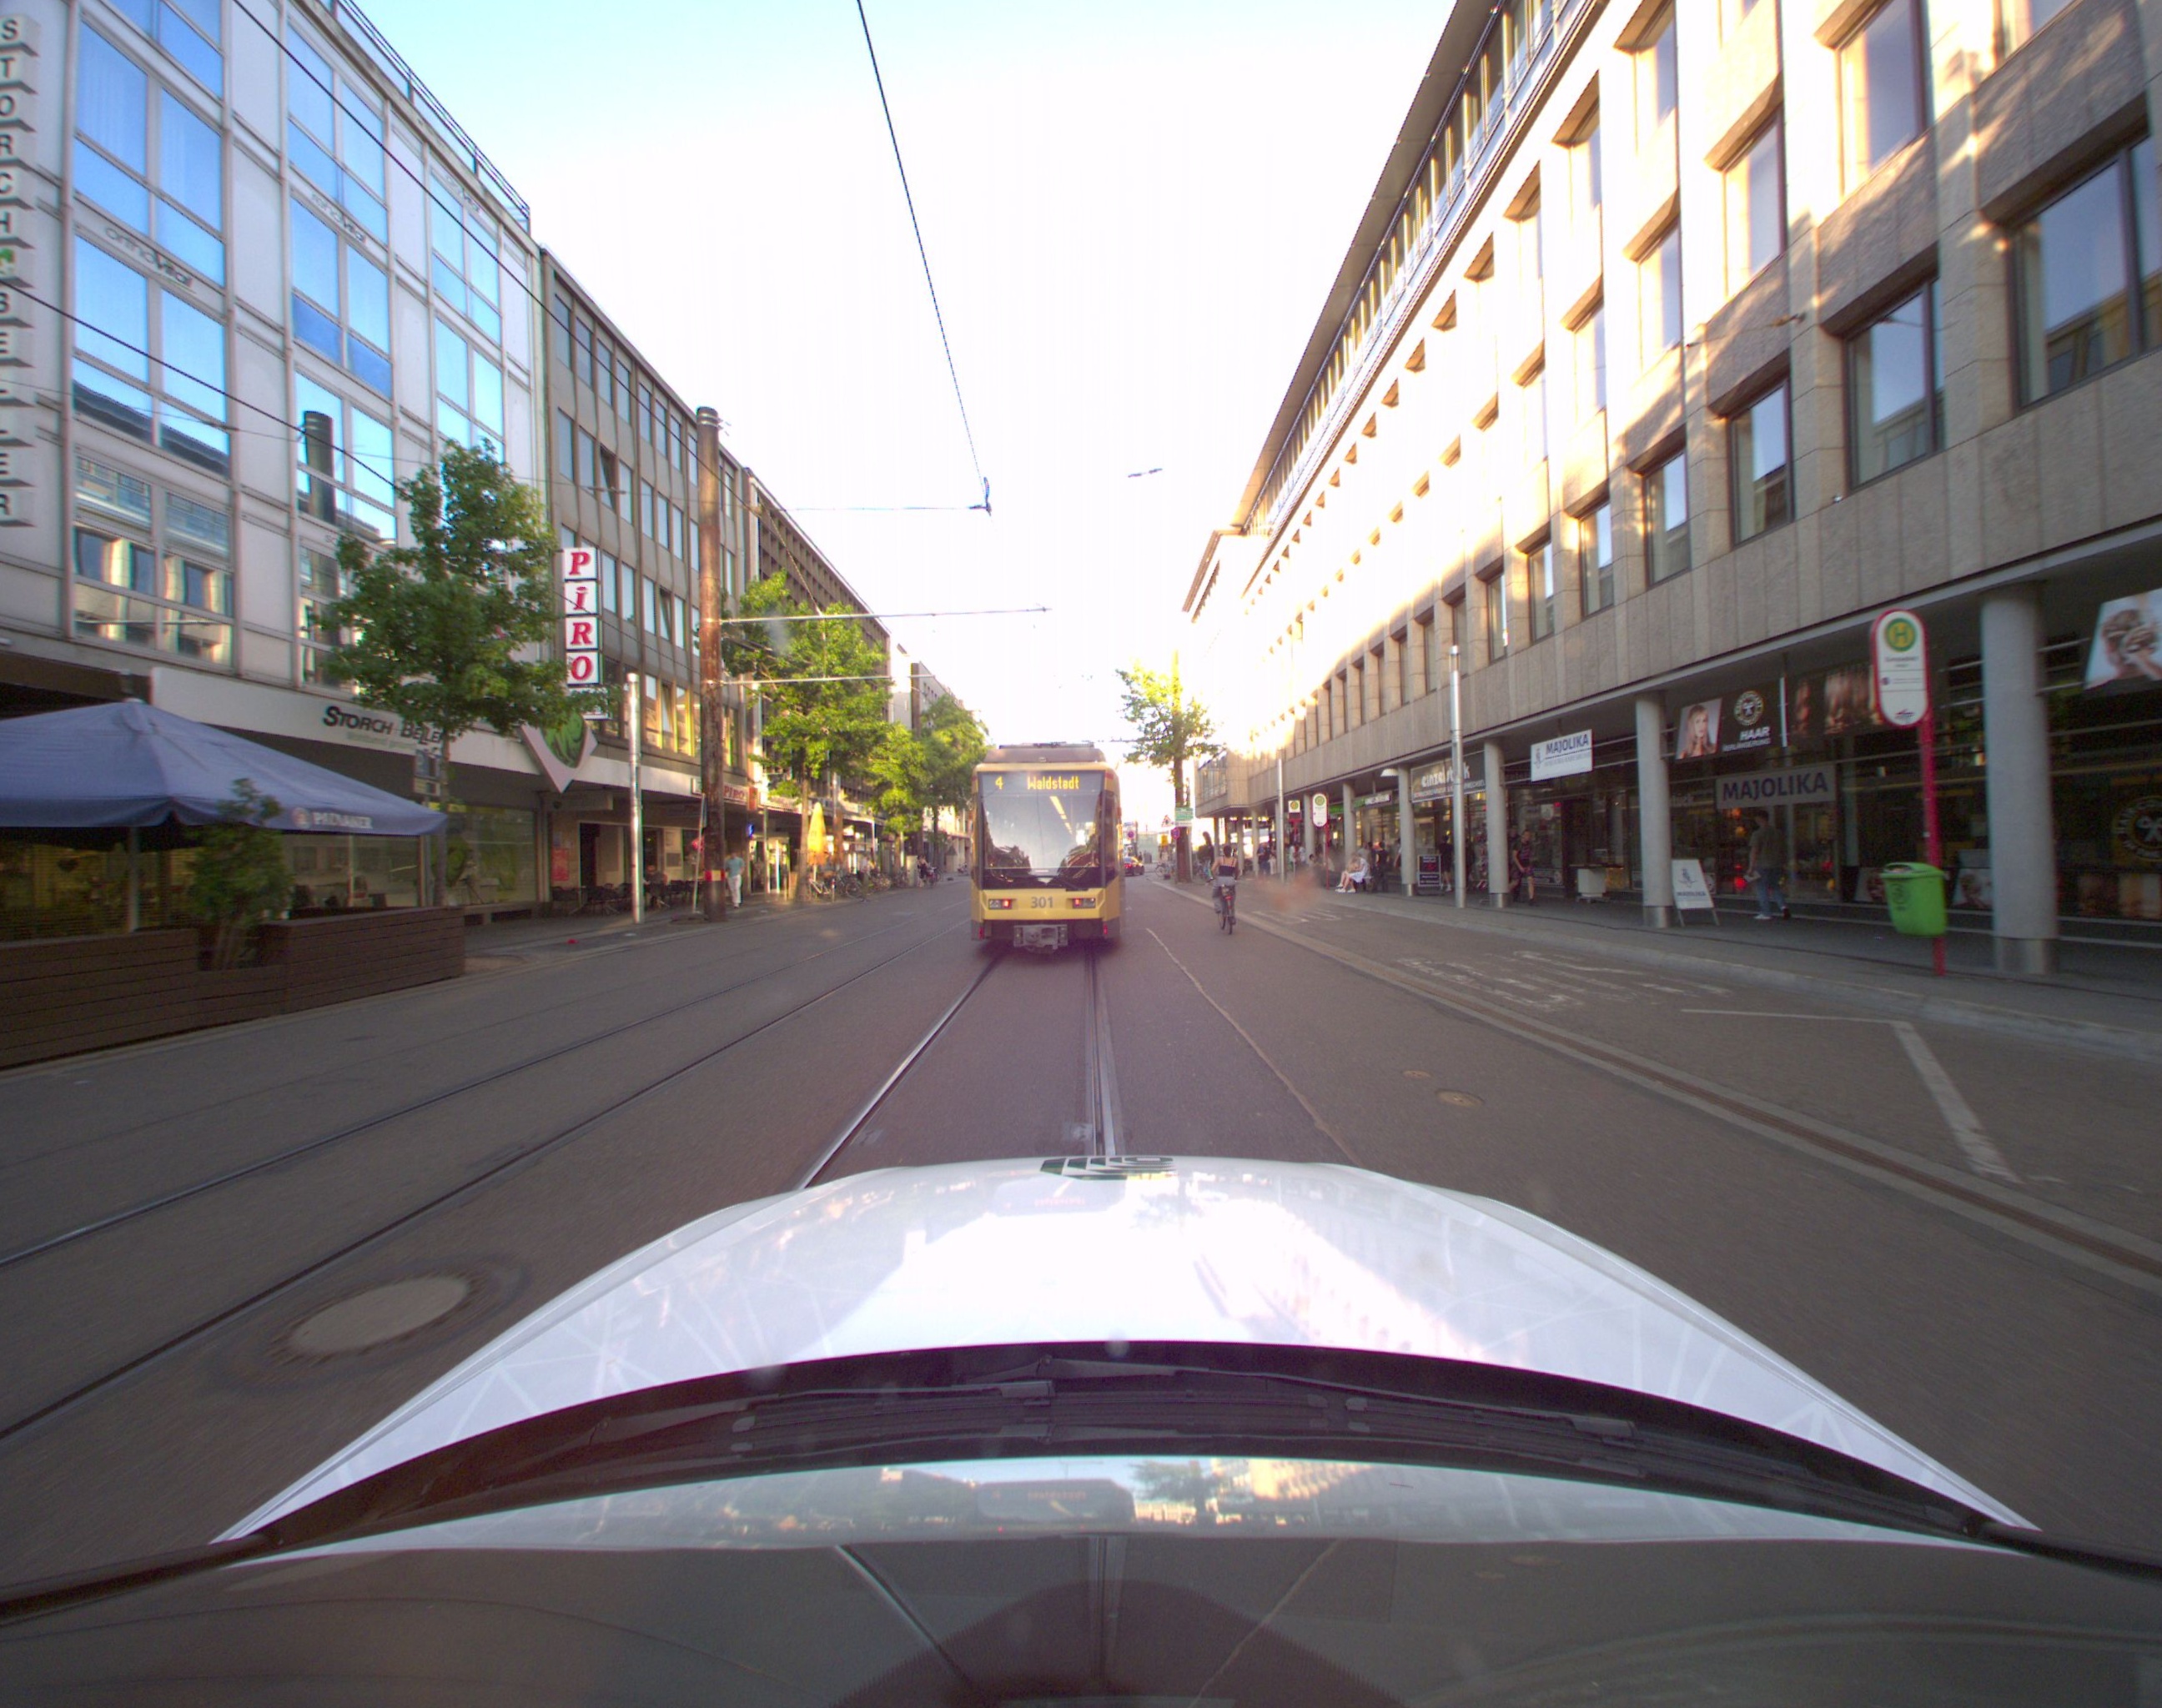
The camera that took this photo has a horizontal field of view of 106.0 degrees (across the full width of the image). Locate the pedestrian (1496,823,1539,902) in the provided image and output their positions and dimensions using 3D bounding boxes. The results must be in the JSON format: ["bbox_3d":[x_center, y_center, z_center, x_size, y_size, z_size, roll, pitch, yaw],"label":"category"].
[{"bbox_3d":[10.728,0.208,20.020,0.614,1.889,0.684,-2,-1,2],"label":"pedestrian"}]

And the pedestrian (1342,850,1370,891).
[{"bbox_3d":[8.915,0.523,26.386,0.715,1.314,0.524,-1,-1,2],"label":"pedestrian"}]

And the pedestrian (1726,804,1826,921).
[{"bbox_3d":[11.731,0.142,13.784,0.841,1.889,0.899,-2,-1,0],"label":"pedestrian"}]

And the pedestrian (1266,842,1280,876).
[{"bbox_3d":[10.579,0.283,44.876,0.537,1.806,0.604,-2,-1,-1],"label":"pedestrian"}]

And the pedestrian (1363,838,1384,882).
[{"bbox_3d":[11.885,0.246,33.092,0.568,1.731,0.617,-2,-1,-1],"label":"pedestrian"}]

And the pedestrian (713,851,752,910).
[{"bbox_3d":[-10.834,0.822,25.358,0.681,1.793,0.991,1,-1,4],"label":"pedestrian"}]

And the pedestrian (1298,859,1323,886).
[{"bbox_3d":[8.811,0.704,31.251,0.810,1.042,0.544,-1,-1,2],"label":"pedestrian"}]

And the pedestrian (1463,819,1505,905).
[{"bbox_3d":[9.449,0.184,19.105,0.576,1.944,0.655,-2,-1,0],"label":"pedestrian"}]

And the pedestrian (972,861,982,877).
[{"bbox_3d":[-9.107,1.311,71.238,0.548,1.434,0.689,-3,-2,38],"label":"pedestrian"}]

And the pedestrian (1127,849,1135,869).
[{"bbox_3d":[4.447,0.463,72.447,0.715,1.725,0.709,-2,-1,1],"label":"pedestrian"}]

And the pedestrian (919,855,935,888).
[{"bbox_3d":[-8.015,0.918,42.285,0.595,1.699,0.539,-1,0,29],"label":"pedestrian"}]

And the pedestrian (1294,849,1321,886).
[{"bbox_3d":[8.486,0.510,30.504,0.810,1.381,0.662,-1,-1,2],"label":"pedestrian"}]

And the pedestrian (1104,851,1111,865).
[{"bbox_3d":[3.362,0.523,103.921,0.734,1.823,0.816,-1,0,-14],"label":"pedestrian"}]

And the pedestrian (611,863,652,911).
[{"bbox_3d":[-12.927,0.935,23.445,0.668,1.325,0.911,1,-1,-1],"label":"pedestrian"}]

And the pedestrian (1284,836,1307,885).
[{"bbox_3d":[8.405,0.255,31.936,0.637,1.839,0.668,-2,-1,1],"label":"pedestrian"}]

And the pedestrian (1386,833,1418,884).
[{"bbox_3d":[11.478,0.173,29.156,0.770,1.772,0.773,-2,-1,-1],"label":"pedestrian"}]

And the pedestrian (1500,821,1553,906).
[{"bbox_3d":[10.319,0.214,18.890,0.704,1.889,0.796,-2,-1,1],"label":"pedestrian"}]

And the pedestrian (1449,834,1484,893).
[{"bbox_3d":[11.270,0.268,23.812,0.645,1.661,0.681,-2,0,1],"label":"pedestrian"}]

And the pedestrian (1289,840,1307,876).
[{"bbox_3d":[11.213,0.217,42.036,0.660,1.787,0.719,-2,-1,1],"label":"pedestrian"}]

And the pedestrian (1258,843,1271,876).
[{"bbox_3d":[10.077,0.289,44.720,0.537,1.806,0.604,-2,-1,-1],"label":"pedestrian"}]

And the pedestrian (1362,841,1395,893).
[{"bbox_3d":[9.282,0.396,25.402,0.721,1.570,0.736,-2,-1,2],"label":"pedestrian"}]

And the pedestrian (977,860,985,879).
[{"bbox_3d":[-8.297,1.294,67.591,0.603,1.494,0.554,-1,-1,-8],"label":"pedestrian"}]

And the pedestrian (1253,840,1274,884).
[{"bbox_3d":[7.844,0.328,35.007,0.666,1.839,0.708,-2,-1,0],"label":"pedestrian"}]

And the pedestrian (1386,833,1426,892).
[{"bbox_3d":[10.283,0.278,25.788,0.841,1.797,0.859,-2,-1,0],"label":"pedestrian"}]

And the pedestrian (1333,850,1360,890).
[{"bbox_3d":[8.777,0.529,26.935,0.715,1.314,0.532,-1,-1,2],"label":"pedestrian"}]

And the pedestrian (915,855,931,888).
[{"bbox_3d":[-8.316,0.927,42.744,0.595,1.699,0.539,-1,0,29],"label":"pedestrian"}]

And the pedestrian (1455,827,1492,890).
[{"bbox_3d":[12.067,0.150,25.075,0.685,1.883,0.773,-2,-1,-1],"label":"pedestrian"}]

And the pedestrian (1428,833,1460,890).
[{"bbox_3d":[11.408,0.238,25.593,0.580,1.753,0.773,-2,-1,-1],"label":"pedestrian"}]

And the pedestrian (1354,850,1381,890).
[{"bbox_3d":[9.516,0.520,27.048,0.715,1.314,0.532,-1,-1,2],"label":"pedestrian"}]

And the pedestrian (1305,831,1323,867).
[{"bbox_3d":[12.013,-0.254,41.981,0.660,1.787,0.719,-2,-1,1],"label":"pedestrian"}]

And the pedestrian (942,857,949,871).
[{"bbox_3d":[-16.192,1.205,97.456,0.711,1.725,0.709,-2,-1,-2],"label":"pedestrian"}]

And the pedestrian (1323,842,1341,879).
[{"bbox_3d":[11.875,0.315,38.571,0.568,1.731,0.617,-2,-1,-1],"label":"pedestrian"}]

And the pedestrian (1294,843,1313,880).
[{"bbox_3d":[10.328,0.352,37.852,0.646,1.661,0.650,-2,0,1],"label":"pedestrian"}]

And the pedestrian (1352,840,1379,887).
[{"bbox_3d":[10.468,0.346,29.947,0.685,1.661,0.722,-2,-1,2],"label":"pedestrian"}]

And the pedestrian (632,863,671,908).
[{"bbox_3d":[-12.978,0.944,24.641,0.668,1.325,0.911,1,-1,-1],"label":"pedestrian"}]

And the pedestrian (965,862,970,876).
[{"bbox_3d":[-13.093,1.727,93.819,0.508,1.547,0.516,-1,-1,-8],"label":"pedestrian"}]
